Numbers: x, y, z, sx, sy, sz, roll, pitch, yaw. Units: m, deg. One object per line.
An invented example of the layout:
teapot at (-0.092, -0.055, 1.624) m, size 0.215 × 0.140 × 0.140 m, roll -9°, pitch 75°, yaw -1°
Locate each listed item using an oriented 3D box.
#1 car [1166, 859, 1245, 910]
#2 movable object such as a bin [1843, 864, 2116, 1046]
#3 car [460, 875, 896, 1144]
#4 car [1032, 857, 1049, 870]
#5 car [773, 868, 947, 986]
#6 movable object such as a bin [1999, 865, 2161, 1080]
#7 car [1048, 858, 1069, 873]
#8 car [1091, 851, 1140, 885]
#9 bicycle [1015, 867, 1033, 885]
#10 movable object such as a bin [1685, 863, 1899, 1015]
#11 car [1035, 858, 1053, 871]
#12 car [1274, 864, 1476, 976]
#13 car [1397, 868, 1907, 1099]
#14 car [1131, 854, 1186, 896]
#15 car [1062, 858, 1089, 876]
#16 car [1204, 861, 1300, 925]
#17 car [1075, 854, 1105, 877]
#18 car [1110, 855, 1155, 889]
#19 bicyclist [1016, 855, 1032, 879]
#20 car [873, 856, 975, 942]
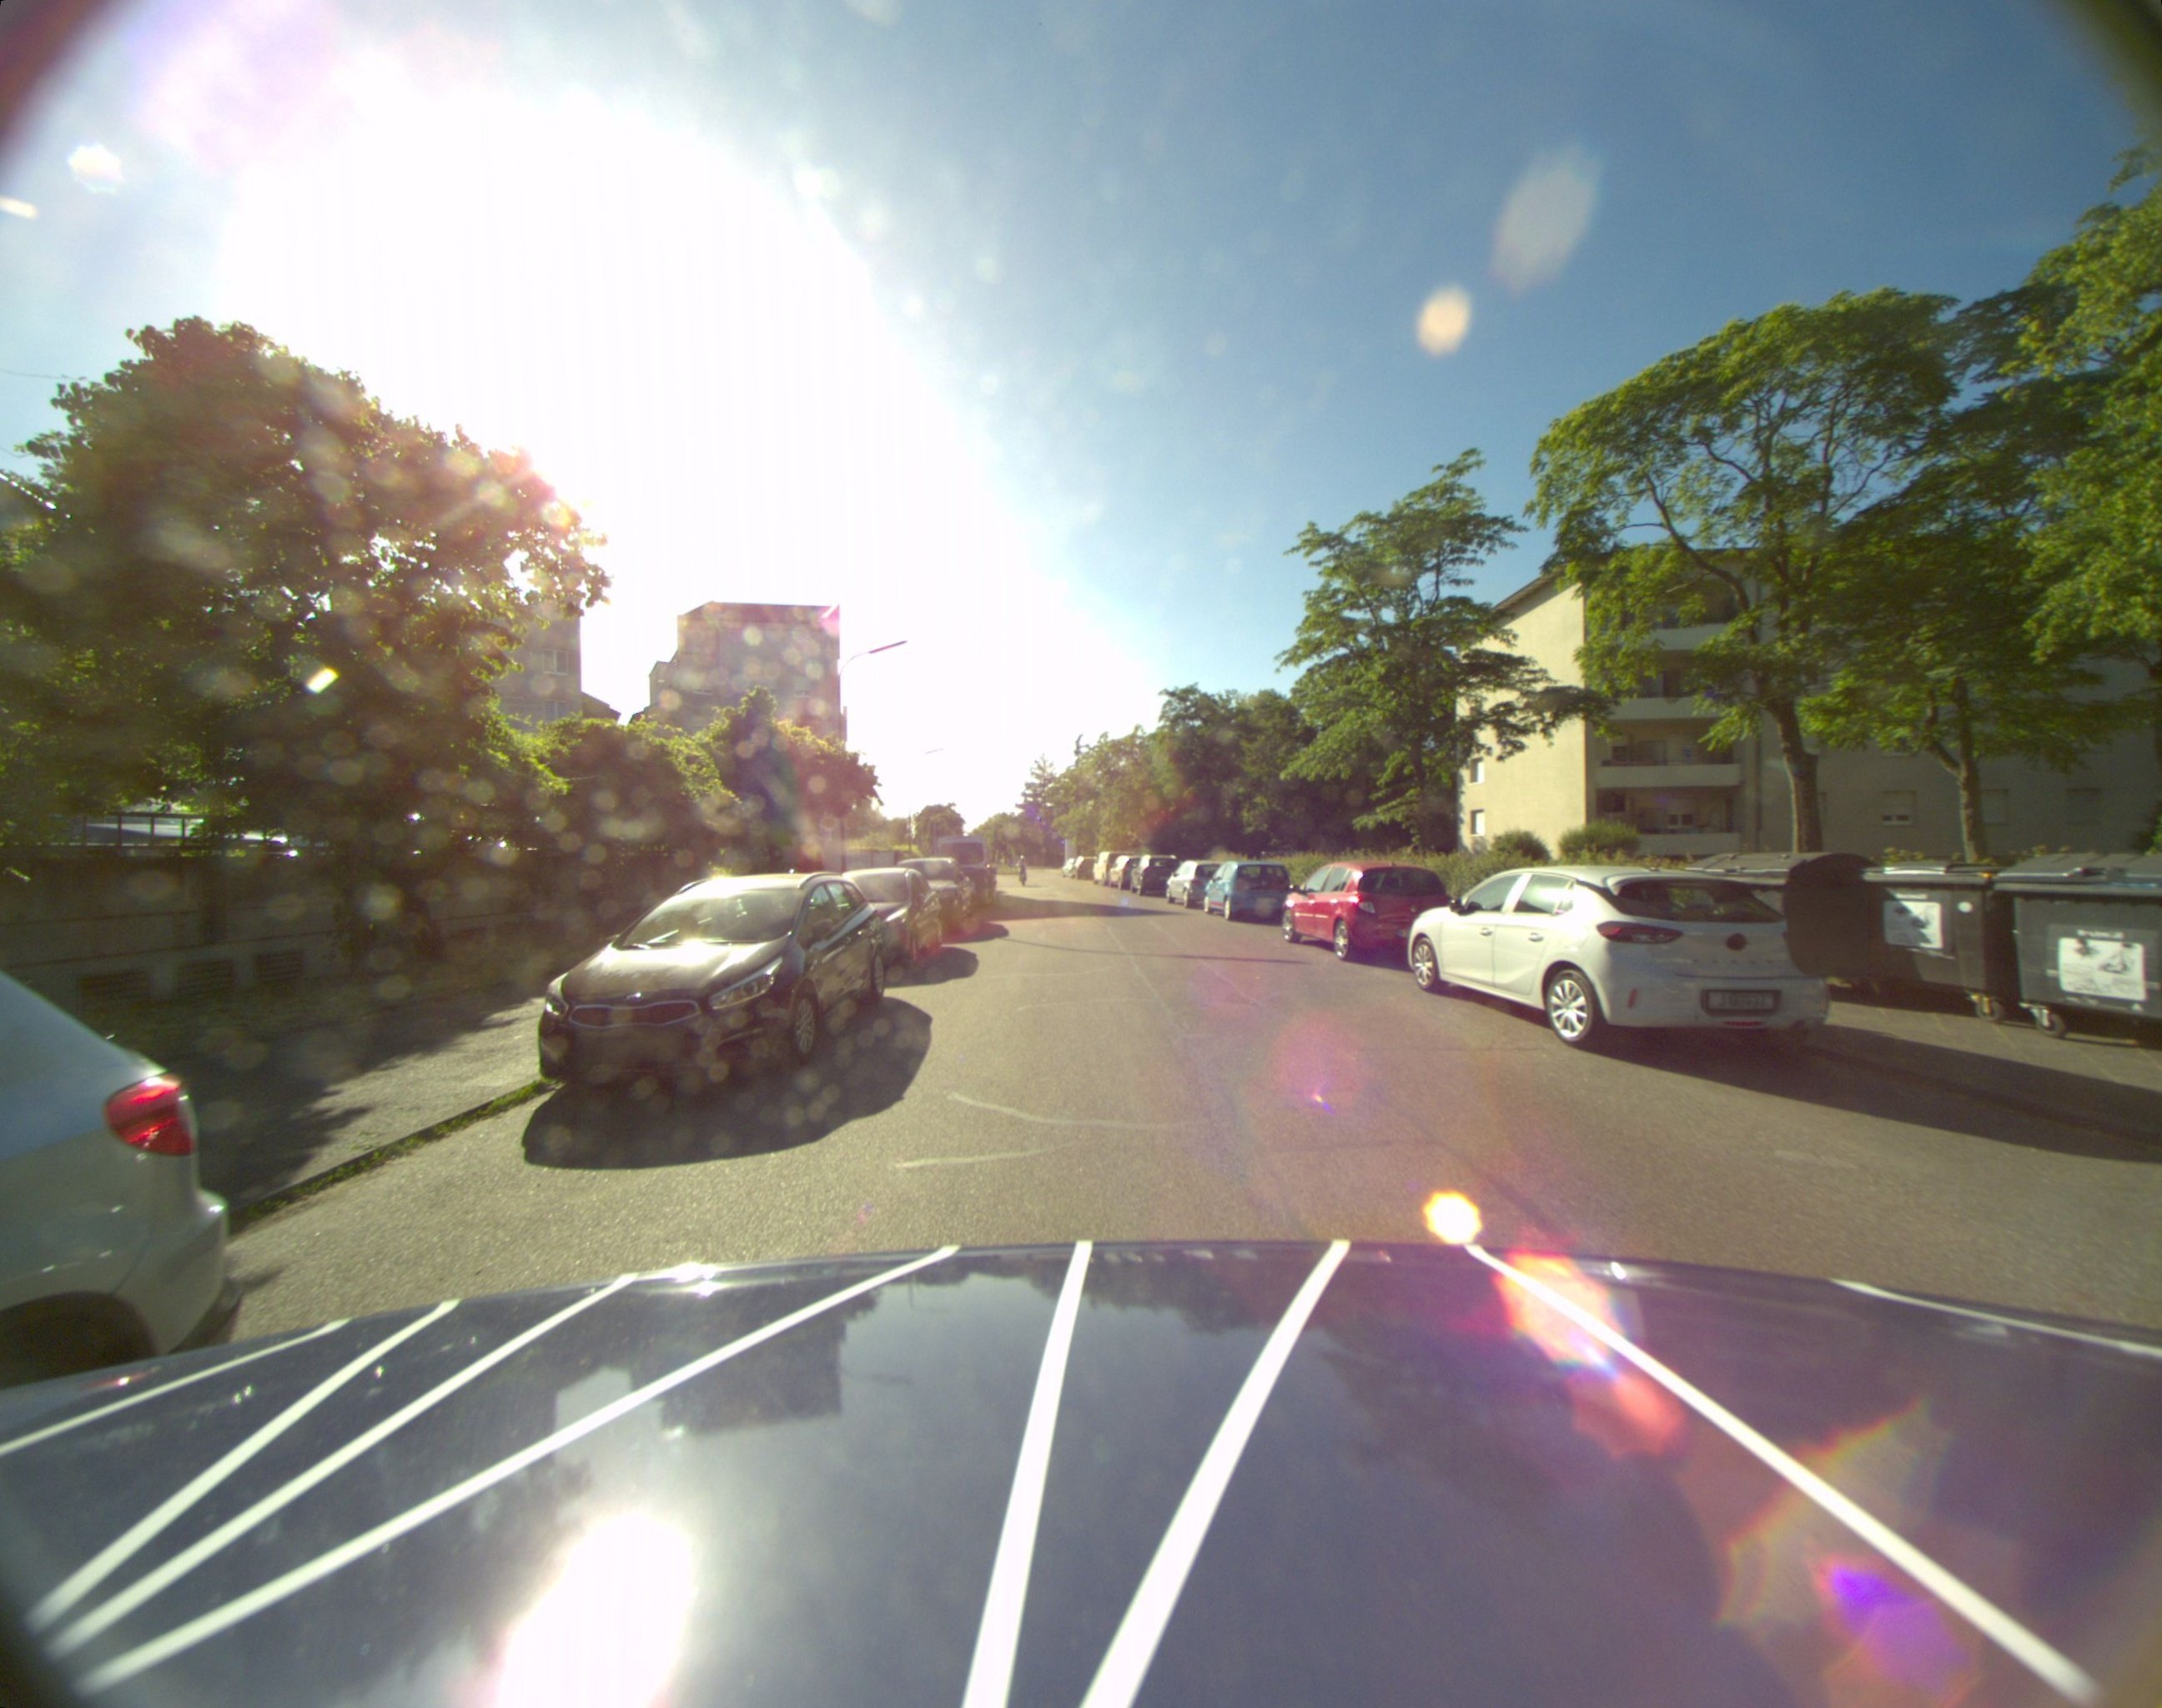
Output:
car at (3.930, 0.920, 24.494) m, size 1.658 × 1.470 × 3.734 m, roll 0°, pitch 0°, yaw -4°
movable object such as a bin at (7.951, 0.831, 6.810) m, size 0.978 × 1.407 × 1.190 m, roll -4°, pitch 1°, yaw -1°
car at (-3.061, 1.034, 6.985) m, size 1.759 × 1.470 × 4.368 m, roll -3°, pitch 0°, yaw -3°
car at (-4.870, 1.111, 90.624) m, size 1.659 × 1.427 × 3.687 m, roll 0°, pitch 0°, yaw -8°
car at (-3.337, 1.023, 12.248) m, size 1.759 × 1.470 × 3.901 m, roll -1°, pitch 0°, yaw -2°
movable object such as a bin at (7.824, 0.819, 5.447) m, size 0.897 × 1.407 × 1.264 m, roll -4°, pitch 1°, yaw -1°
car at (-2.213, 1.121, 74.870) m, size 1.659 × 1.427 × 3.687 m, roll 0°, pitch 0°, yaw -8°
car at (1.900, 0.734, 43.462) m, size 1.885 × 1.857 × 5.435 m, roll 0°, pitch 0°, yaw -7°
bicycle at (-3.204, 1.231, 42.909) m, size 0.824 × 0.896 × 2.202 m, roll -1°, pitch 0°, yaw -1°
movable object such as a bin at (7.463, 0.837, 8.065) m, size 1.007 × 1.407 × 1.264 m, roll -4°, pitch 1°, yaw -1°
car at (-4.175, 1.199, 85.543) m, size 1.659 × 1.427 × 3.687 m, roll 0°, pitch 0°, yaw -8°
car at (4.502, 0.925, 12.290) m, size 1.635 × 1.470 × 3.878 m, roll 0°, pitch 0°, yaw -2°
car at (4.672, 0.915, 7.107) m, size 1.811 × 1.470 × 3.940 m, roll 0°, pitch 0°, yaw 0°
car at (3.156, 0.833, 31.762) m, size 1.658 × 1.621 × 4.070 m, roll 0°, pitch 0°, yaw -3°
car at (-0.459, 1.040, 61.507) m, size 1.659 × 1.427 × 3.687 m, roll 0°, pitch 0°, yaw -8°
car at (4.281, 0.940, 19.447) m, size 1.658 × 1.470 × 3.105 m, roll 0°, pitch 0°, yaw -2°
car at (0.611, 0.814, 54.477) m, size 1.659 × 1.558 × 3.687 m, roll 0°, pitch 0°, yaw -8°
car at (2.507, 0.855, 37.926) m, size 1.658 × 1.621 × 3.688 m, roll 0°, pitch 0°, yaw -5°
bicyclist at (-3.212, 0.727, 42.824) m, size 0.812 × 1.348 × 1.091 m, roll -1°, pitch 1°, yaw -1°
car at (-3.481, 0.915, 17.483) m, size 1.759 × 1.685 × 3.900 m, roll -2°, pitch 0°, yaw -4°
